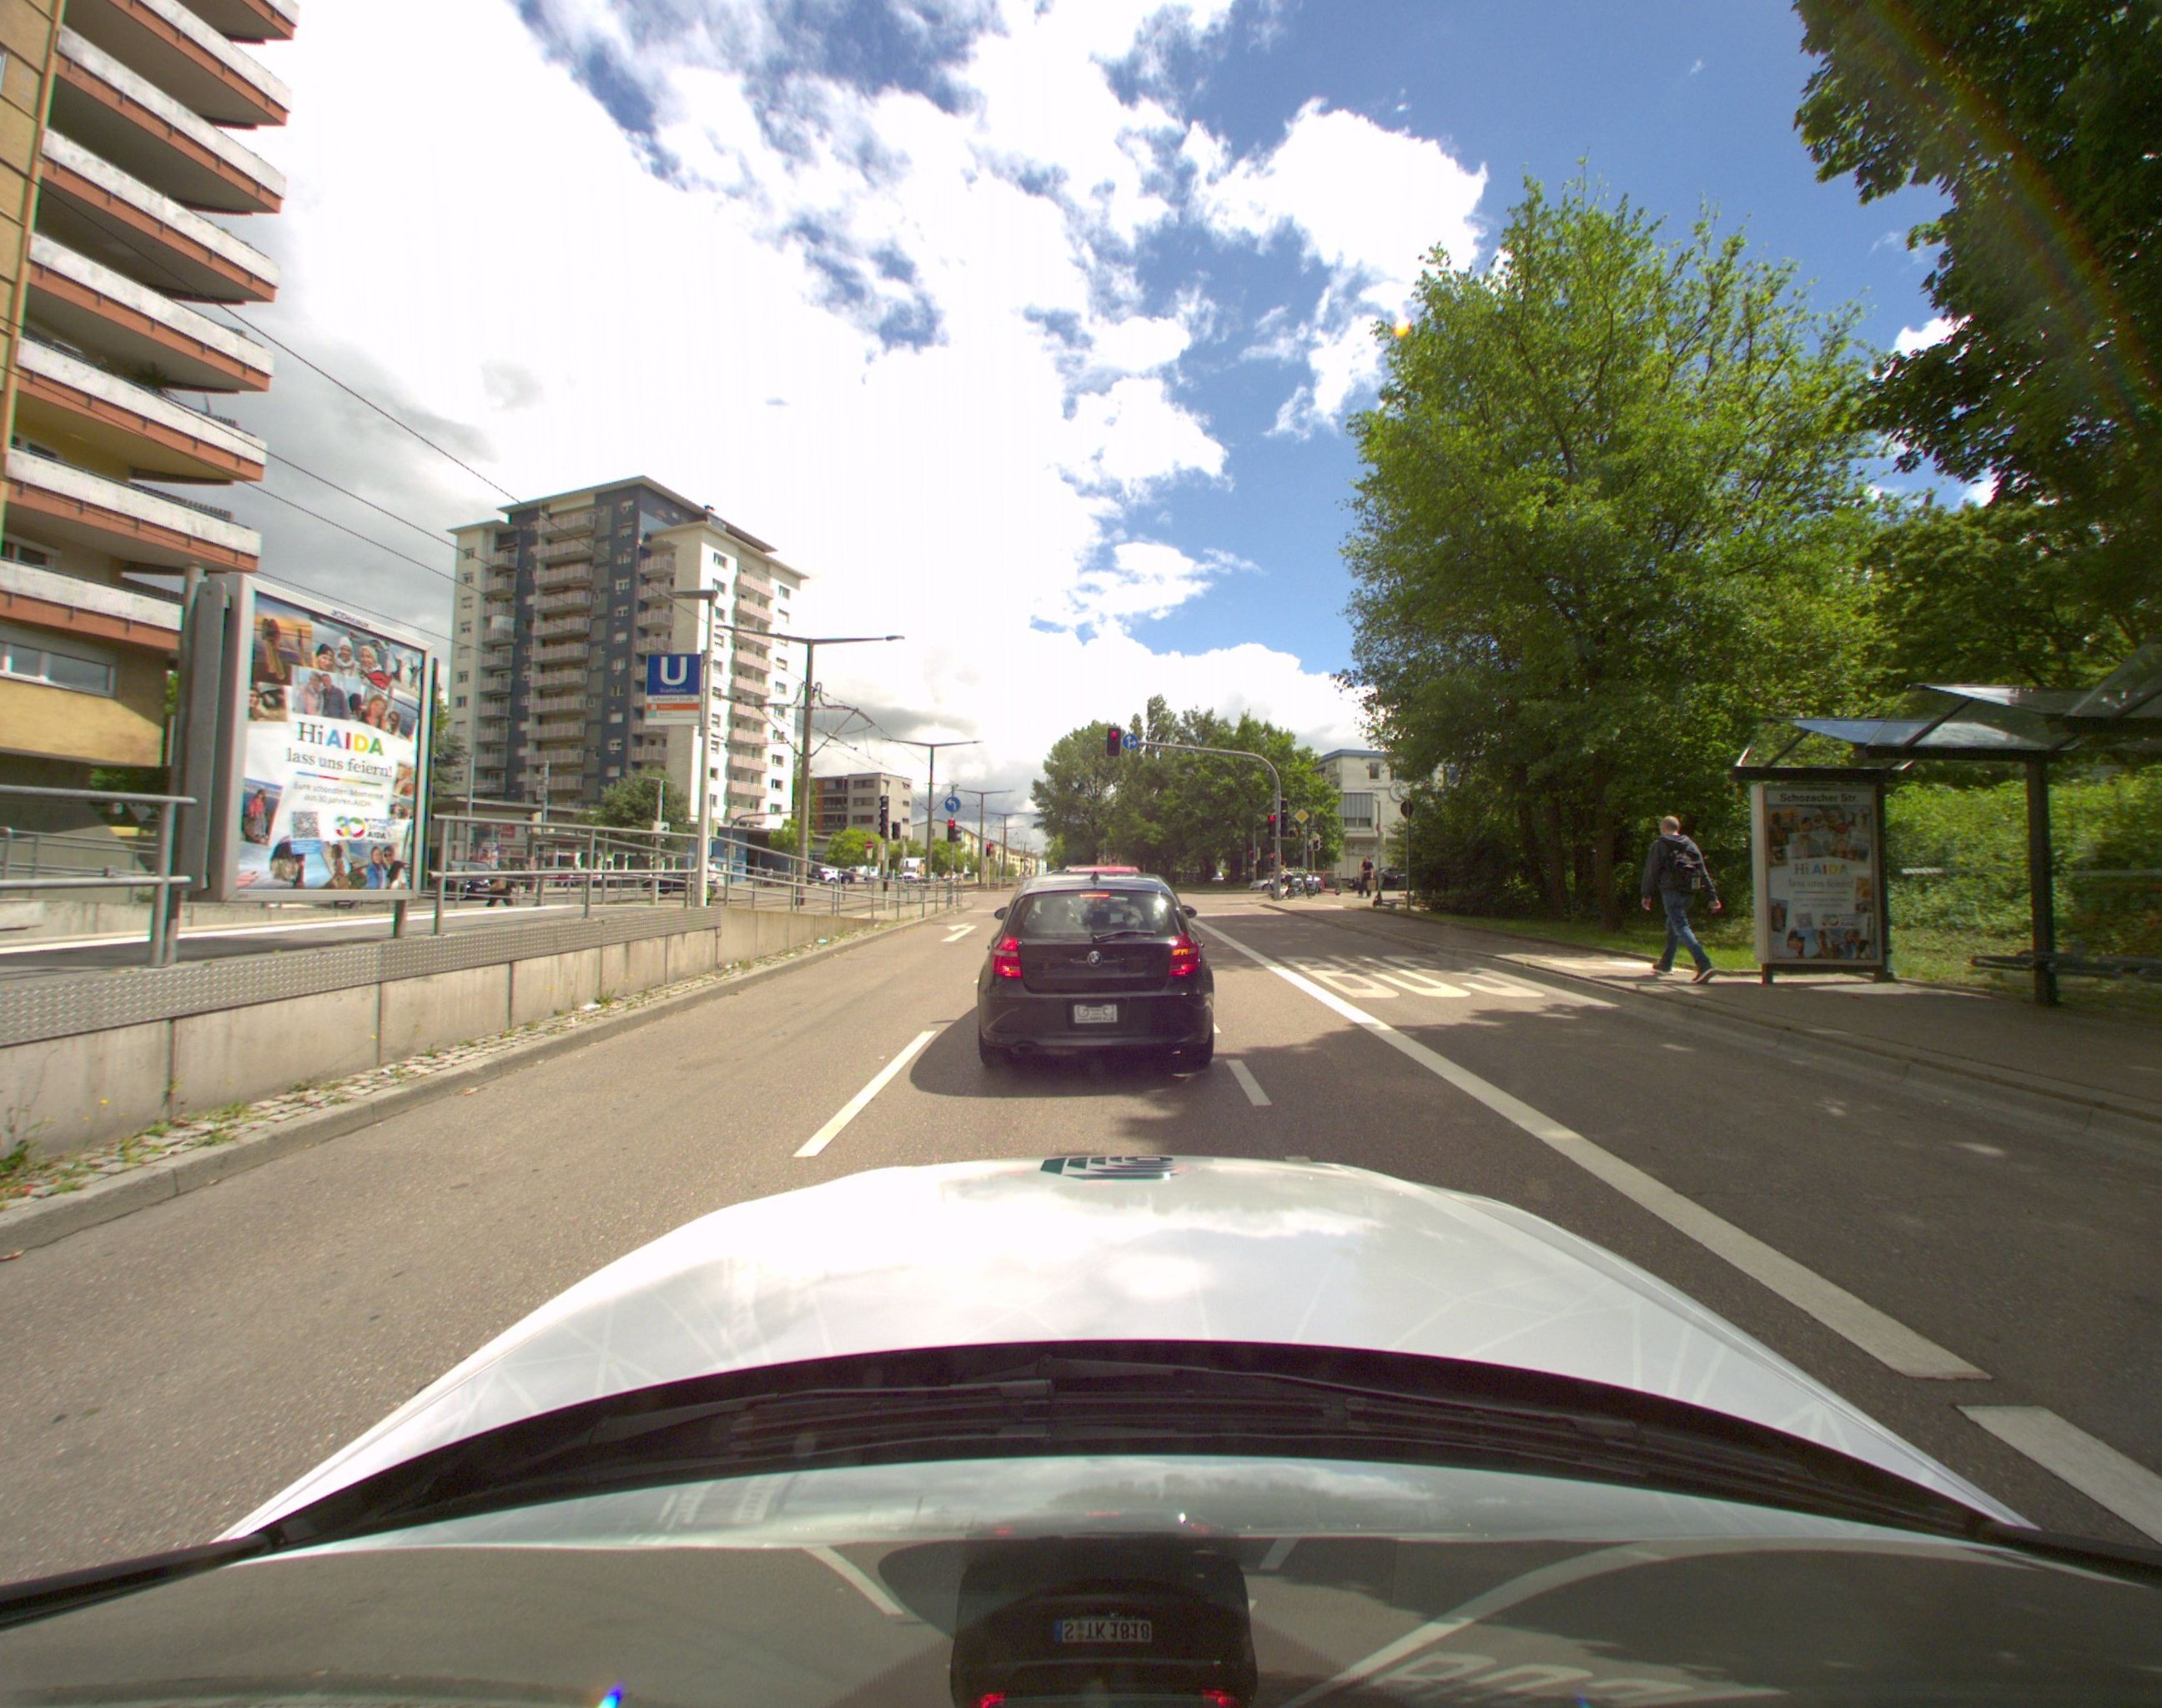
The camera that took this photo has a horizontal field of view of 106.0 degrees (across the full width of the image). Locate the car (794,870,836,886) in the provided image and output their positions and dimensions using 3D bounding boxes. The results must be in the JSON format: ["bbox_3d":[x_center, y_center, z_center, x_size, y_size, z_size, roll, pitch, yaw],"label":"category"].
[{"bbox_3d":[-25.725,2.348,78.839,3.600,1.462,1.613,-1,-1,-7],"label":"car"}]

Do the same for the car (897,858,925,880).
[{"bbox_3d":[-20.545,1.815,98.624,2.132,2.640,5.358,0,-1,0],"label":"car"}]

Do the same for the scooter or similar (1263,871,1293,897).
[{"bbox_3d":[7.690,1.164,31.807,1.121,0.957,0.299,-1,-1,-14],"label":"scooter or similar"}]

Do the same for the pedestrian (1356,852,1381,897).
[{"bbox_3d":[11.930,0.849,33.809,0.752,1.790,0.572,3,-1,35],"label":"pedestrian"}]

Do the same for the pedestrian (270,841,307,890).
[{"bbox_3d":[-26.194,0.368,26.940,0.625,1.578,0.853,0,-1,-26],"label":"pedestrian"}]

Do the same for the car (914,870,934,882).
[{"bbox_3d":[-21.427,2.971,110.946,1.960,1.596,3.999,0,-1,0],"label":"car"}]

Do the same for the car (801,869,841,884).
[{"bbox_3d":[-26.189,2.239,82.079,3.600,1.462,1.613,-1,-1,-7],"label":"car"}]

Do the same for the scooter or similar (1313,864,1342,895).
[{"bbox_3d":[10.264,1.047,33.872,1.107,1.258,0.331,-1,-1,-10],"label":"scooter or similar"}]

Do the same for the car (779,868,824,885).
[{"bbox_3d":[-25.544,2.016,74.447,3.600,1.462,1.613,-1,-1,-7],"label":"car"}]

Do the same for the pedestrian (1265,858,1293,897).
[{"bbox_3d":[7.536,0.899,30.984,0.857,1.442,0.803,-1,-1,28],"label":"pedestrian"}]

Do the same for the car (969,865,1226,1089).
[{"bbox_3d":[0.215,0.820,7.030,1.647,1.419,3.520,-1,0,4],"label":"car"}]

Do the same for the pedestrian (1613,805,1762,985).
[{"bbox_3d":[6.864,0.438,9.296,0.798,1.895,1.271,1,-1,3],"label":"pedestrian"}]

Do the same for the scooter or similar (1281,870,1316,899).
[{"bbox_3d":[8.233,1.135,30.853,1.796,1.051,0.405,0,-1,-44],"label":"scooter or similar"}]

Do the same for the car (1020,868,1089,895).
[{"bbox_3d":[-1.620,1.595,48.446,3.983,1.526,1.671,0,-1,-7],"label":"car"}]

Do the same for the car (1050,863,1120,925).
[{"bbox_3d":[0.111,0.957,20.913,1.649,1.419,3.516,0,0,0],"label":"car"}]

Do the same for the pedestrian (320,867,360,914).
[{"bbox_3d":[-22.028,1.076,24.234,0.691,1.343,0.852,0,-1,-29],"label":"pedestrian"}]

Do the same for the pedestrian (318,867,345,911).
[{"bbox_3d":[-23.052,1.067,25.044,0.660,1.343,0.558,-1,-1,44],"label":"pedestrian"}]

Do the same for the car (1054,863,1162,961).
[{"bbox_3d":[0.482,0.874,13.807,1.588,1.419,3.519,-1,0,3],"label":"car"}]

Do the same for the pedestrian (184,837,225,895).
[{"bbox_3d":[-26.527,0.366,24.645,0.816,1.706,0.686,-1,-1,32],"label":"pedestrian"}]

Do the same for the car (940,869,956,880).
[{"bbox_3d":[-21.325,3.269,130.801,1.960,1.596,3.999,0,-1,0],"label":"car"}]

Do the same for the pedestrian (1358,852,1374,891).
[{"bbox_3d":[13.276,0.805,37.886,0.608,1.790,0.571,3,-1,20],"label":"pedestrian"}]

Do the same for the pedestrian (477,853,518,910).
[{"bbox_3d":[-17.102,0.809,23.886,0.699,1.633,0.637,-1,-1,-1],"label":"pedestrian"}]

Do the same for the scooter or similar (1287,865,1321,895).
[{"bbox_3d":[9.068,1.061,33.065,1.290,1.189,0.383,-1,-1,-14],"label":"scooter or similar"}]

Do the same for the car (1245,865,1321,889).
[{"bbox_3d":[12.543,1.409,50.663,4.318,1.394,1.709,0,-1,-7],"label":"car"}]

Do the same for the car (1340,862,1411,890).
[{"bbox_3d":[17.389,1.289,48.098,3.578,1.601,1.705,0,-1,-11],"label":"car"}]

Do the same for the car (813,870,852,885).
[{"bbox_3d":[-26.158,2.450,85.850,3.600,1.462,1.613,-1,-1,-7],"label":"car"}]

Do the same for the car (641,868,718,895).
[{"bbox_3d":[-23.062,1.542,46.867,3.600,1.462,1.613,-1,-1,-7],"label":"car"}]

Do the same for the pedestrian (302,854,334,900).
[{"bbox_3d":[-26.798,0.792,28.610,0.602,1.583,0.779,-1,-1,43],"label":"pedestrian"}]

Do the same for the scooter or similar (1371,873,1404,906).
[{"bbox_3d":[10.785,1.240,28.644,1.153,1.099,0.329,0,-1,-22],"label":"scooter or similar"}]

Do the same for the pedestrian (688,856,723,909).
[{"bbox_3d":[-12.310,0.914,26.692,0.849,1.697,0.693,-1,-1,36],"label":"pedestrian"}]
